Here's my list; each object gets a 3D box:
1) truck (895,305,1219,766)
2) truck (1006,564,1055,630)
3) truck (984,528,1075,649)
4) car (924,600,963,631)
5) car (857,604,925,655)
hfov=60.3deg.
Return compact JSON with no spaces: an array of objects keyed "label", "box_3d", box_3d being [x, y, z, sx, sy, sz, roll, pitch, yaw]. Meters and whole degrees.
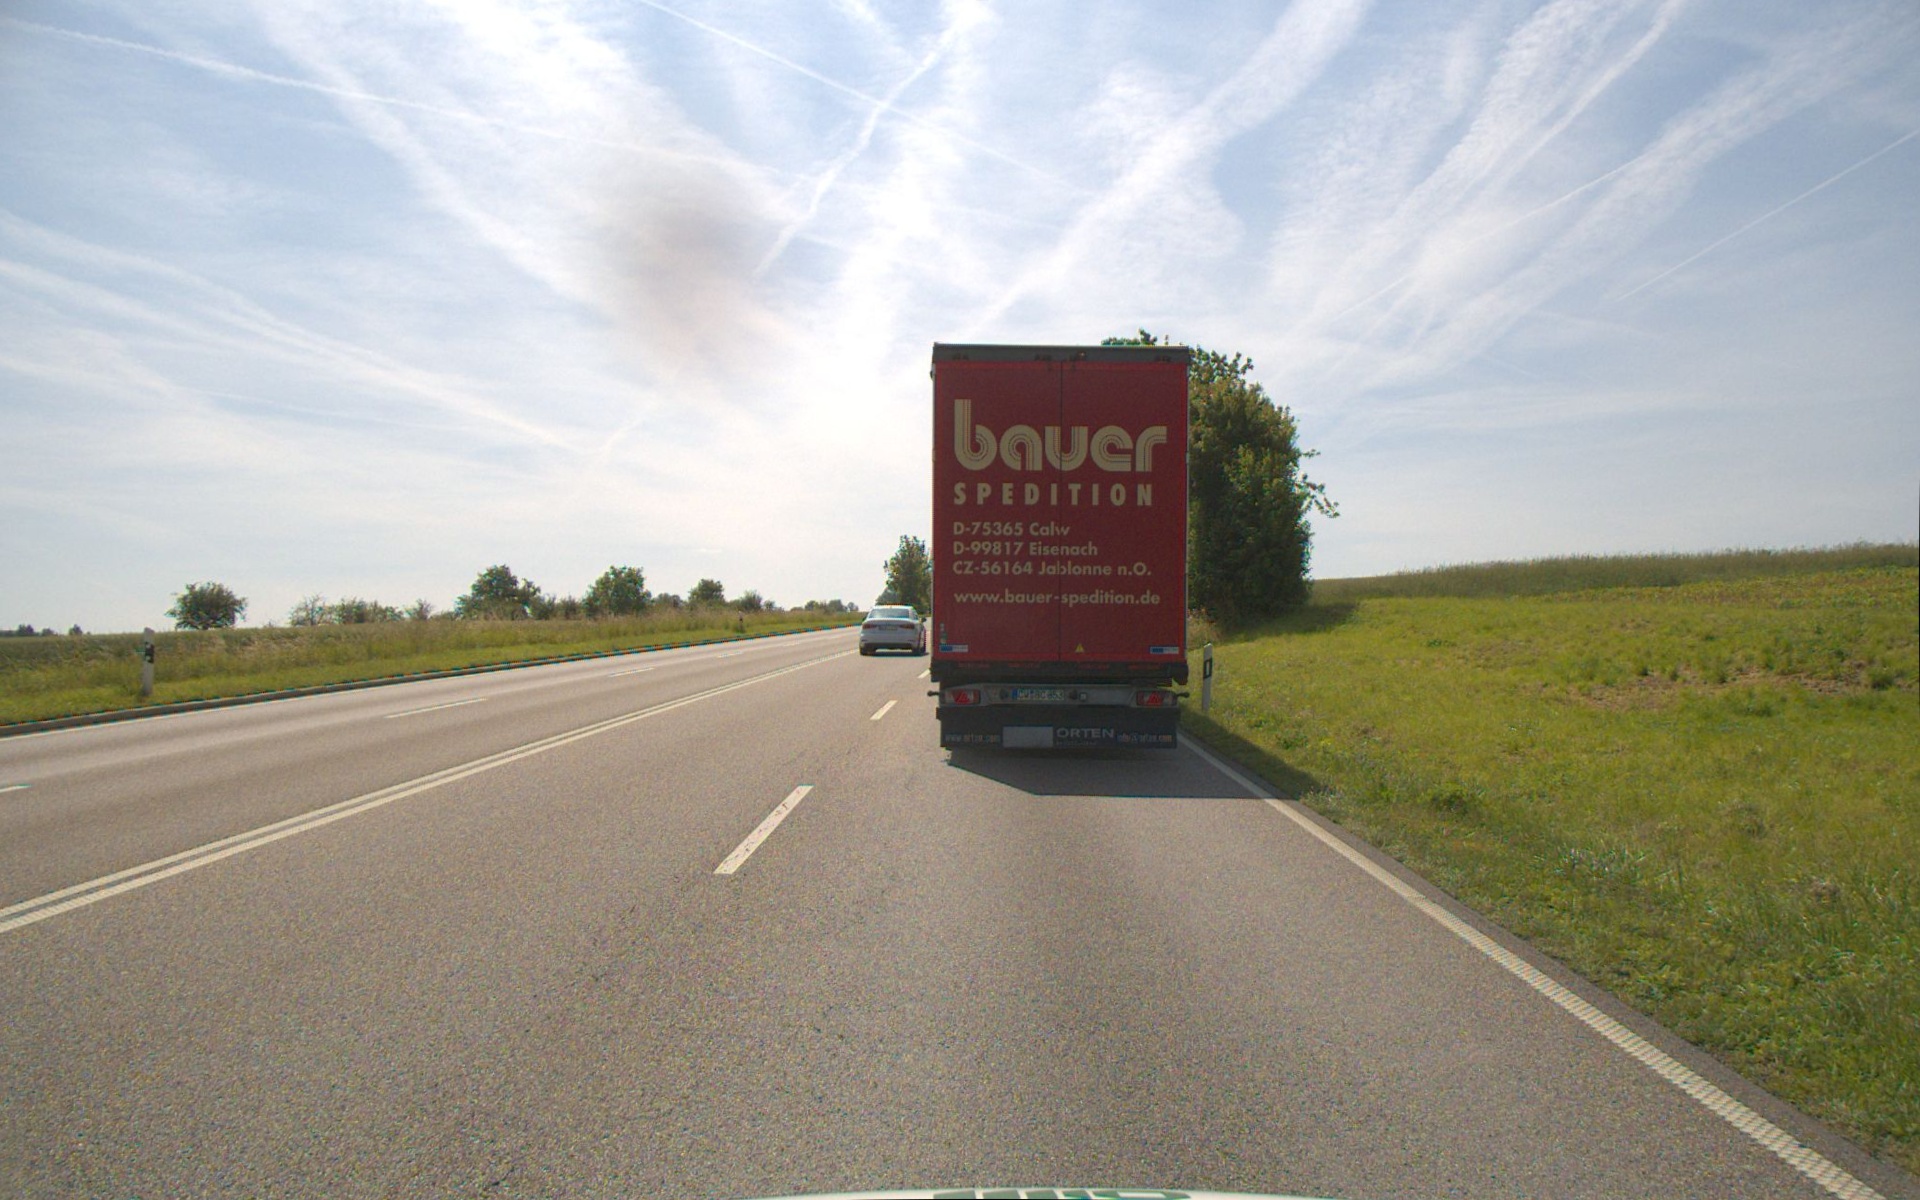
[{"label":"truck","box_3d":[0.787,-0.575,23.918,2.946,4.253,16.710,2,0,-1]},{"label":"truck","box_3d":[4.780,-0.152,110.278,2.983,3.979,18.404,0,0,3]},{"label":"truck","box_3d":[2.652,-0.356,62.333,2.983,3.979,15.620,0,0,3]},{"label":"car","box_3d":[-0.791,0.774,83.313,1.783,1.498,4.789,1,0,1]},{"label":"car","box_3d":[-1.979,0.826,48.586,1.668,1.400,4.604,1,0,1]}]
